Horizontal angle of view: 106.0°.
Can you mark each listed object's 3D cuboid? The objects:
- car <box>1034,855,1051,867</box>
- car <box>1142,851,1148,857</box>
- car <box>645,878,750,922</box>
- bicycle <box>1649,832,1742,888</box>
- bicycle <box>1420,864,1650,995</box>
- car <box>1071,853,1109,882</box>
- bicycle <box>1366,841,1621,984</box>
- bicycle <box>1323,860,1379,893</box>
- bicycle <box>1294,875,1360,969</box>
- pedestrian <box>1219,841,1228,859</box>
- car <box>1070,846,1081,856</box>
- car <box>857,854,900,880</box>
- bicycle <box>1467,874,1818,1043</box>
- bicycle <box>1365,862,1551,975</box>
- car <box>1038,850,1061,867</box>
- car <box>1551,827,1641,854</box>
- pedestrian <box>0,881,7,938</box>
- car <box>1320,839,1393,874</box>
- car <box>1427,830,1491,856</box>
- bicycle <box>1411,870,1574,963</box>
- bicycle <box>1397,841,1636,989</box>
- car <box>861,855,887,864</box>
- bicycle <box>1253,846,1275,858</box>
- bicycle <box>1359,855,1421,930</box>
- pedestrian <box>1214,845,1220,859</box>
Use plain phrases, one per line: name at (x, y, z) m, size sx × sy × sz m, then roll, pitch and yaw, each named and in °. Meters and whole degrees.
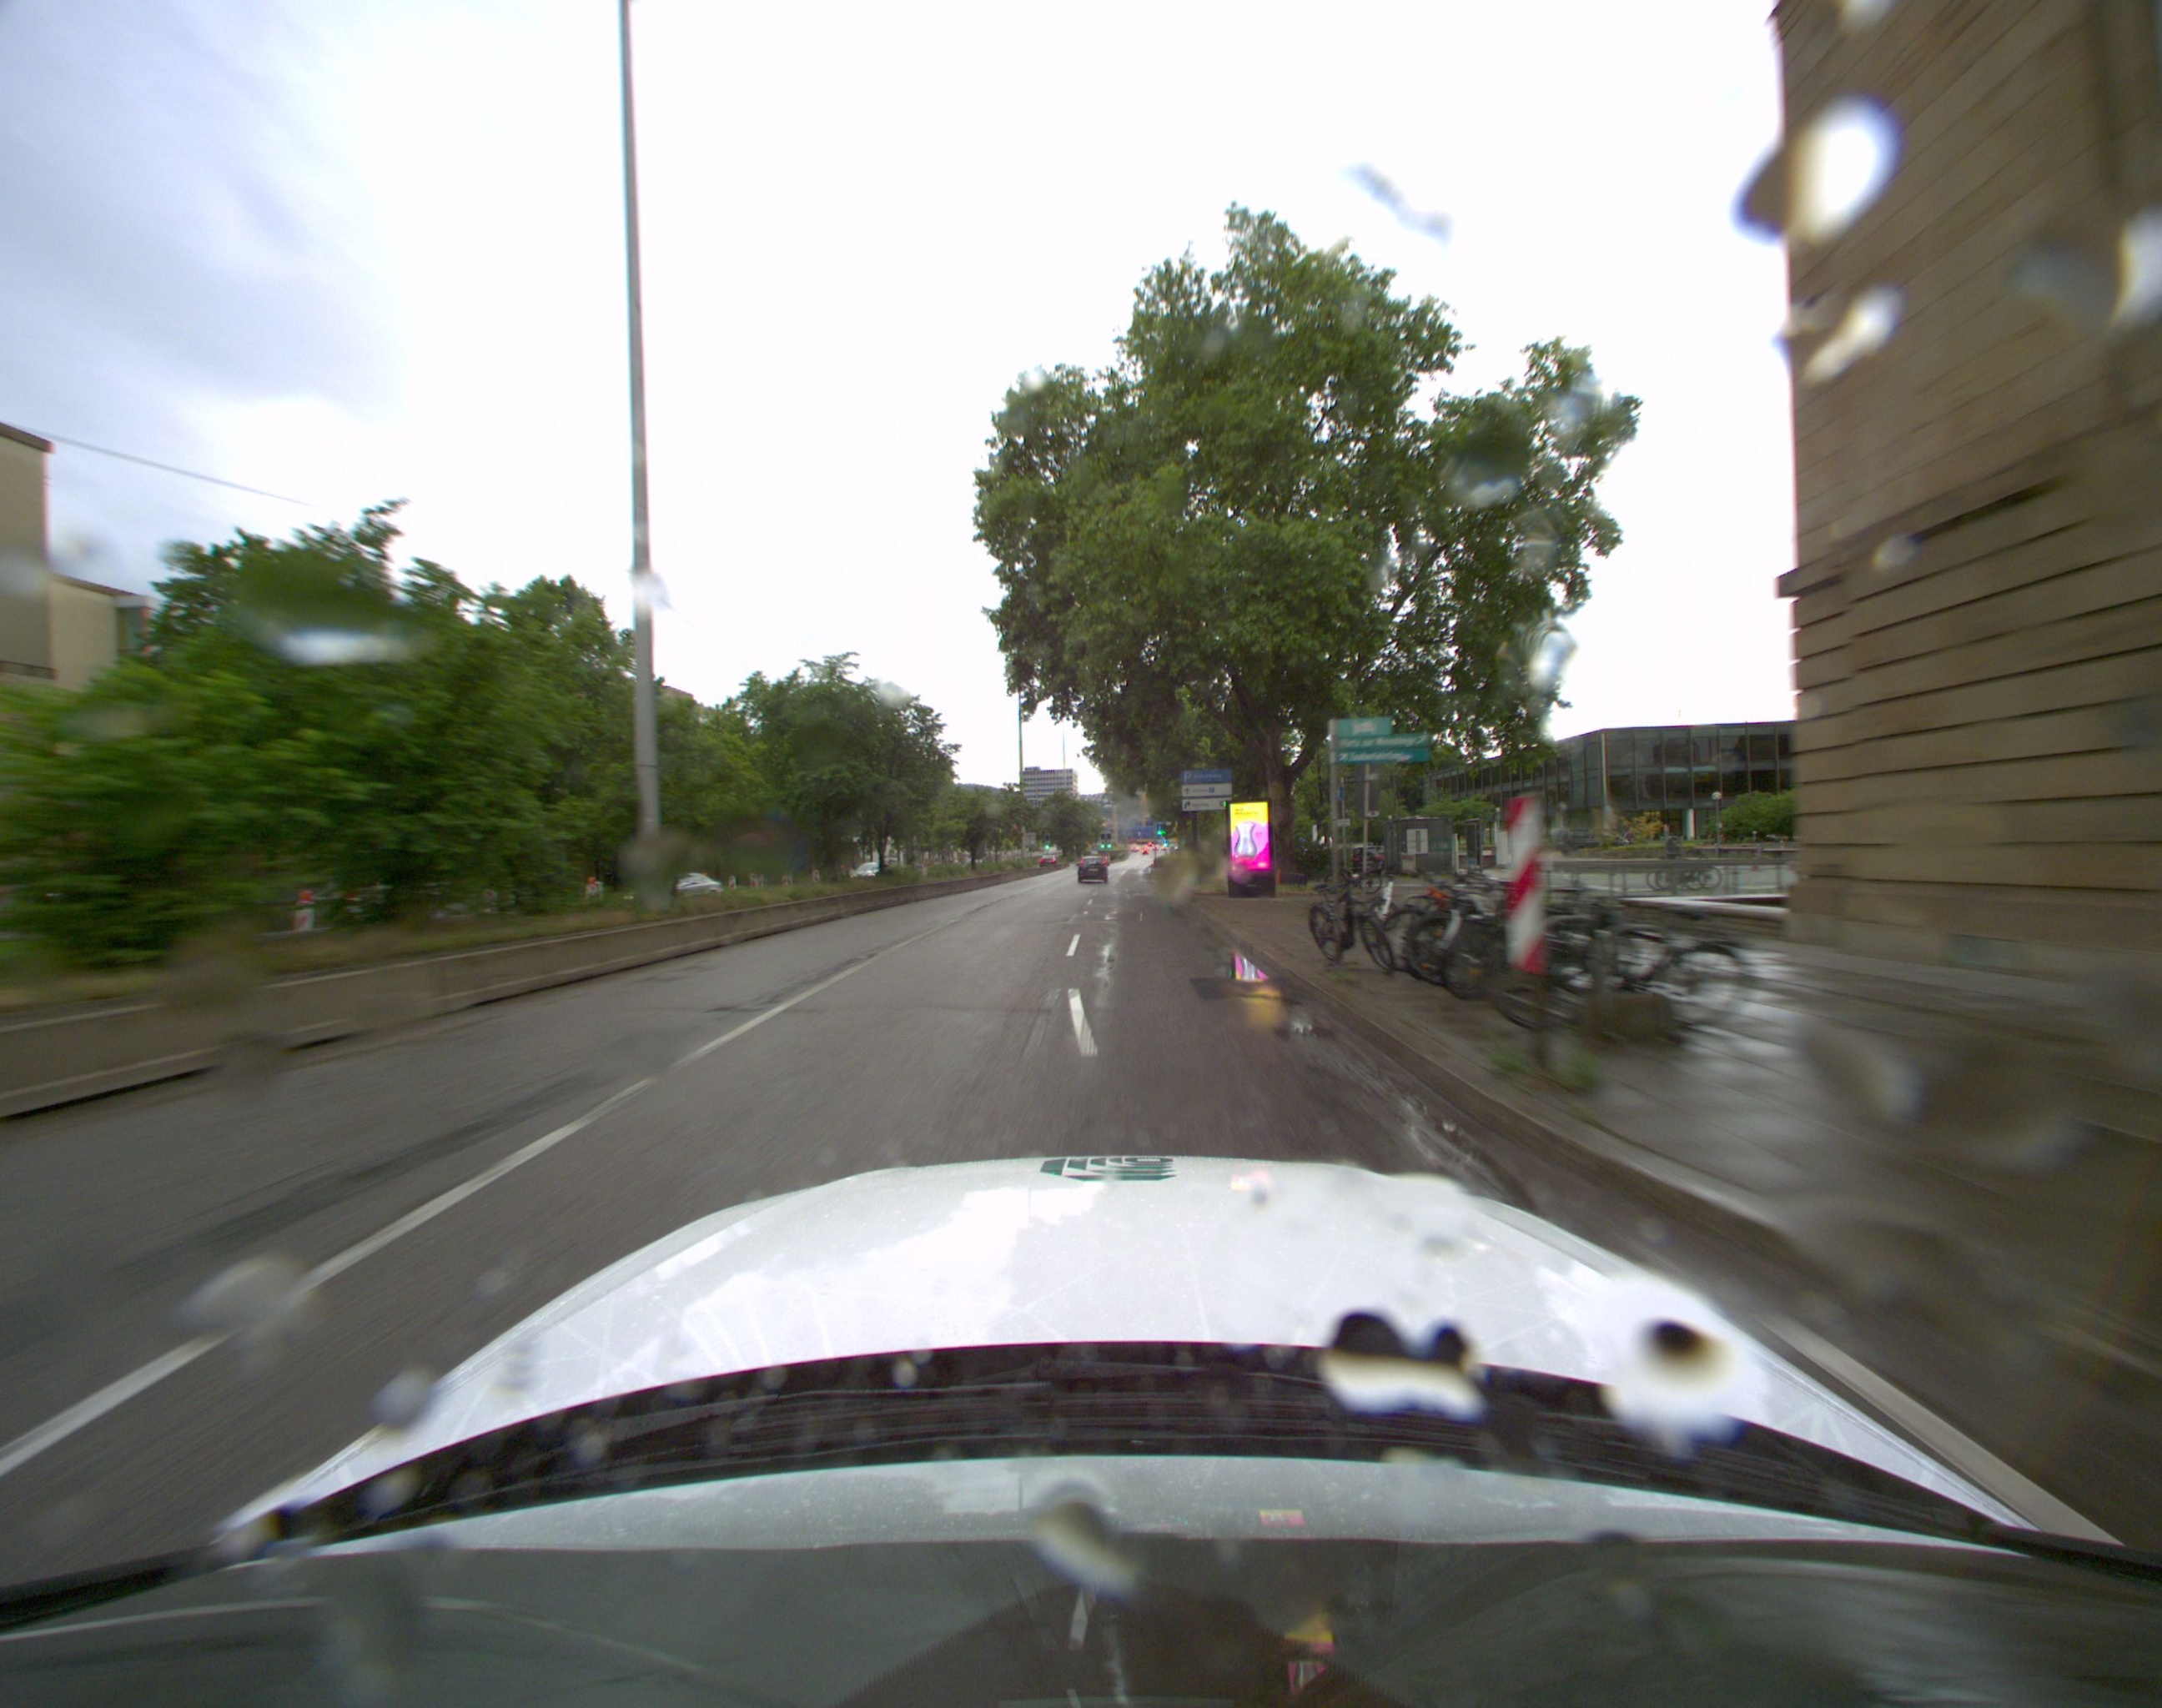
car at (-4.546, 0.818, 96.604) m, size 1.747 × 1.451 × 4.002 m, roll -1°, pitch 0°, yaw 2°
car at (18.266, 0.020, 232.045) m, size 1.730 × 1.771 × 4.006 m, roll -4°, pitch -1°, yaw 6°
car at (-16.765, 1.958, 35.913) m, size 1.984 × 1.625 × 4.814 m, roll -3°, pitch -1°, yaw 5°
bicycle at (19.014, 0.184, 25.239) m, size 2.310 × 1.667 × 0.774 m, roll -1°, pitch -2°, yaw -4°
bicycle at (4.027, 0.657, 7.327) m, size 1.671 × 1.090 × 0.651 m, roll -1°, pitch -1°, yaw 4°
car at (0.460, 0.743, 45.157) m, size 1.839 × 1.416 × 3.835 m, roll -3°, pitch -1°, yaw -3°
bicycle at (4.086, 0.571, 8.189) m, size 2.181 × 1.336 × 0.651 m, roll -1°, pitch -1°, yaw 4°
bicycle at (8.560, 0.715, 25.856) m, size 1.632 × 1.020 × 0.576 m, roll 0°, pitch -1°, yaw 7°
bicycle at (2.931, 0.760, 9.657) m, size 0.664 × 0.967 × 1.645 m, roll -2°, pitch 0°, yaw 18°
pedestrian at (13.857, -0.411, 79.098) m, size 0.702 × 1.718 × 0.693 m, roll -4°, pitch 0°, yaw 4°
car at (-1.086, -0.555, 151.302) m, size 1.987 × 1.632 × 3.999 m, roll -2°, pitch 0°, yaw 0°
car at (-12.714, 0.782, 51.328) m, size 1.538 × 1.508 × 3.934 m, roll -2°, pitch 0°, yaw 3°
bicycle at (3.932, 0.704, 5.814) m, size 1.979 × 1.060 × 0.759 m, roll -1°, pitch -1°, yaw -1°
bicycle at (3.955, 0.669, 8.641) m, size 1.671 × 1.122 × 0.602 m, roll -1°, pitch 0°, yaw 4°
car at (-3.454, 0.452, 89.775) m, size 1.984 × 1.781 × 4.006 m, roll -2°, pitch 0°, yaw 5°
car at (37.544, -0.984, 59.507) m, size 4.989 × 1.764 × 2.461 m, roll -2°, pitch 0°, yaw 0°
pedestrian at (-38.380, 1.975, 28.652) m, size 0.476 × 2.014 × 0.512 m, roll -3°, pitch -1°, yaw 3°
car at (13.664, 0.069, 40.760) m, size 1.986 × 1.609 × 5.239 m, roll -1°, pitch 1°, yaw 2°
car at (28.527, -0.805, 61.515) m, size 3.967 × 1.600 × 1.659 m, roll -4°, pitch -1°, yaw 5°
bicycle at (4.694, 0.709, 9.351) m, size 1.582 × 0.994 × 0.525 m, roll -1°, pitch 0°, yaw 4°
bicycle at (4.076, 0.556, 7.728) m, size 1.897 × 1.332 × 0.651 m, roll 0°, pitch -1°, yaw 4°
car at (-36.594, 0.972, 144.319) m, size 3.972 × 1.596 × 2.001 m, roll -2°, pitch 0°, yaw 1°
bicycle at (19.008, -0.176, 84.707) m, size 2.032 × 1.173 × 0.958 m, roll -2°, pitch 0°, yaw -7°
bicycle at (5.362, 0.641, 14.239) m, size 0.601 × 1.197 × 1.910 m, roll -4°, pitch -1°, yaw 10°
pedestrian at (18.039, -0.276, 108.367) m, size 0.592 × 1.755 × 0.726 m, roll -3°, pitch 0°, yaw 2°
